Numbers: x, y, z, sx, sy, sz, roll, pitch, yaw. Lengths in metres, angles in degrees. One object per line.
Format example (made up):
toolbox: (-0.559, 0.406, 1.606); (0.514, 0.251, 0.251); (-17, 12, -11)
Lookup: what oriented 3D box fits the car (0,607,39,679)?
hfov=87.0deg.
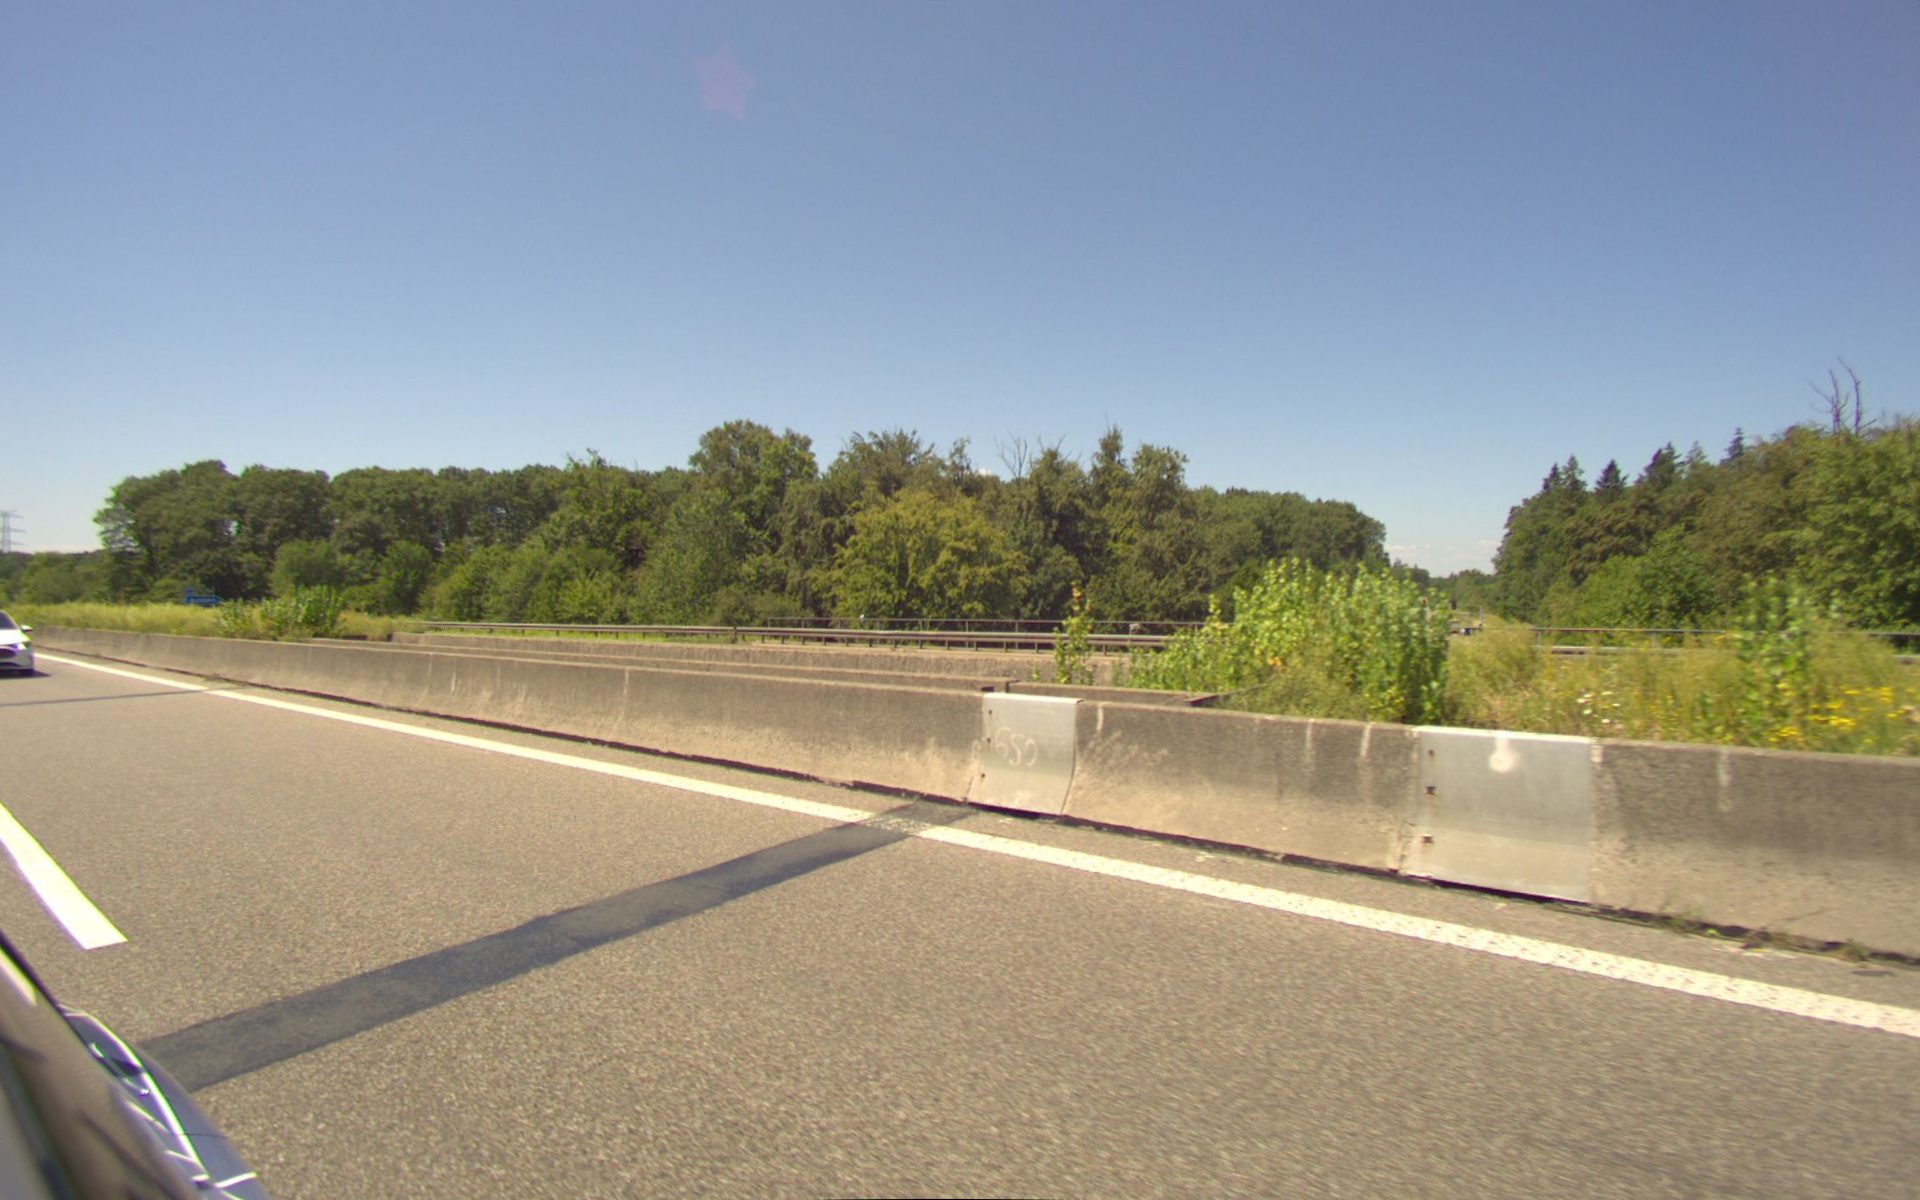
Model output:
car: (-21.937, 0.932, 22.206); (5.101, 1.459, 1.750); (-1, 1, 38)
